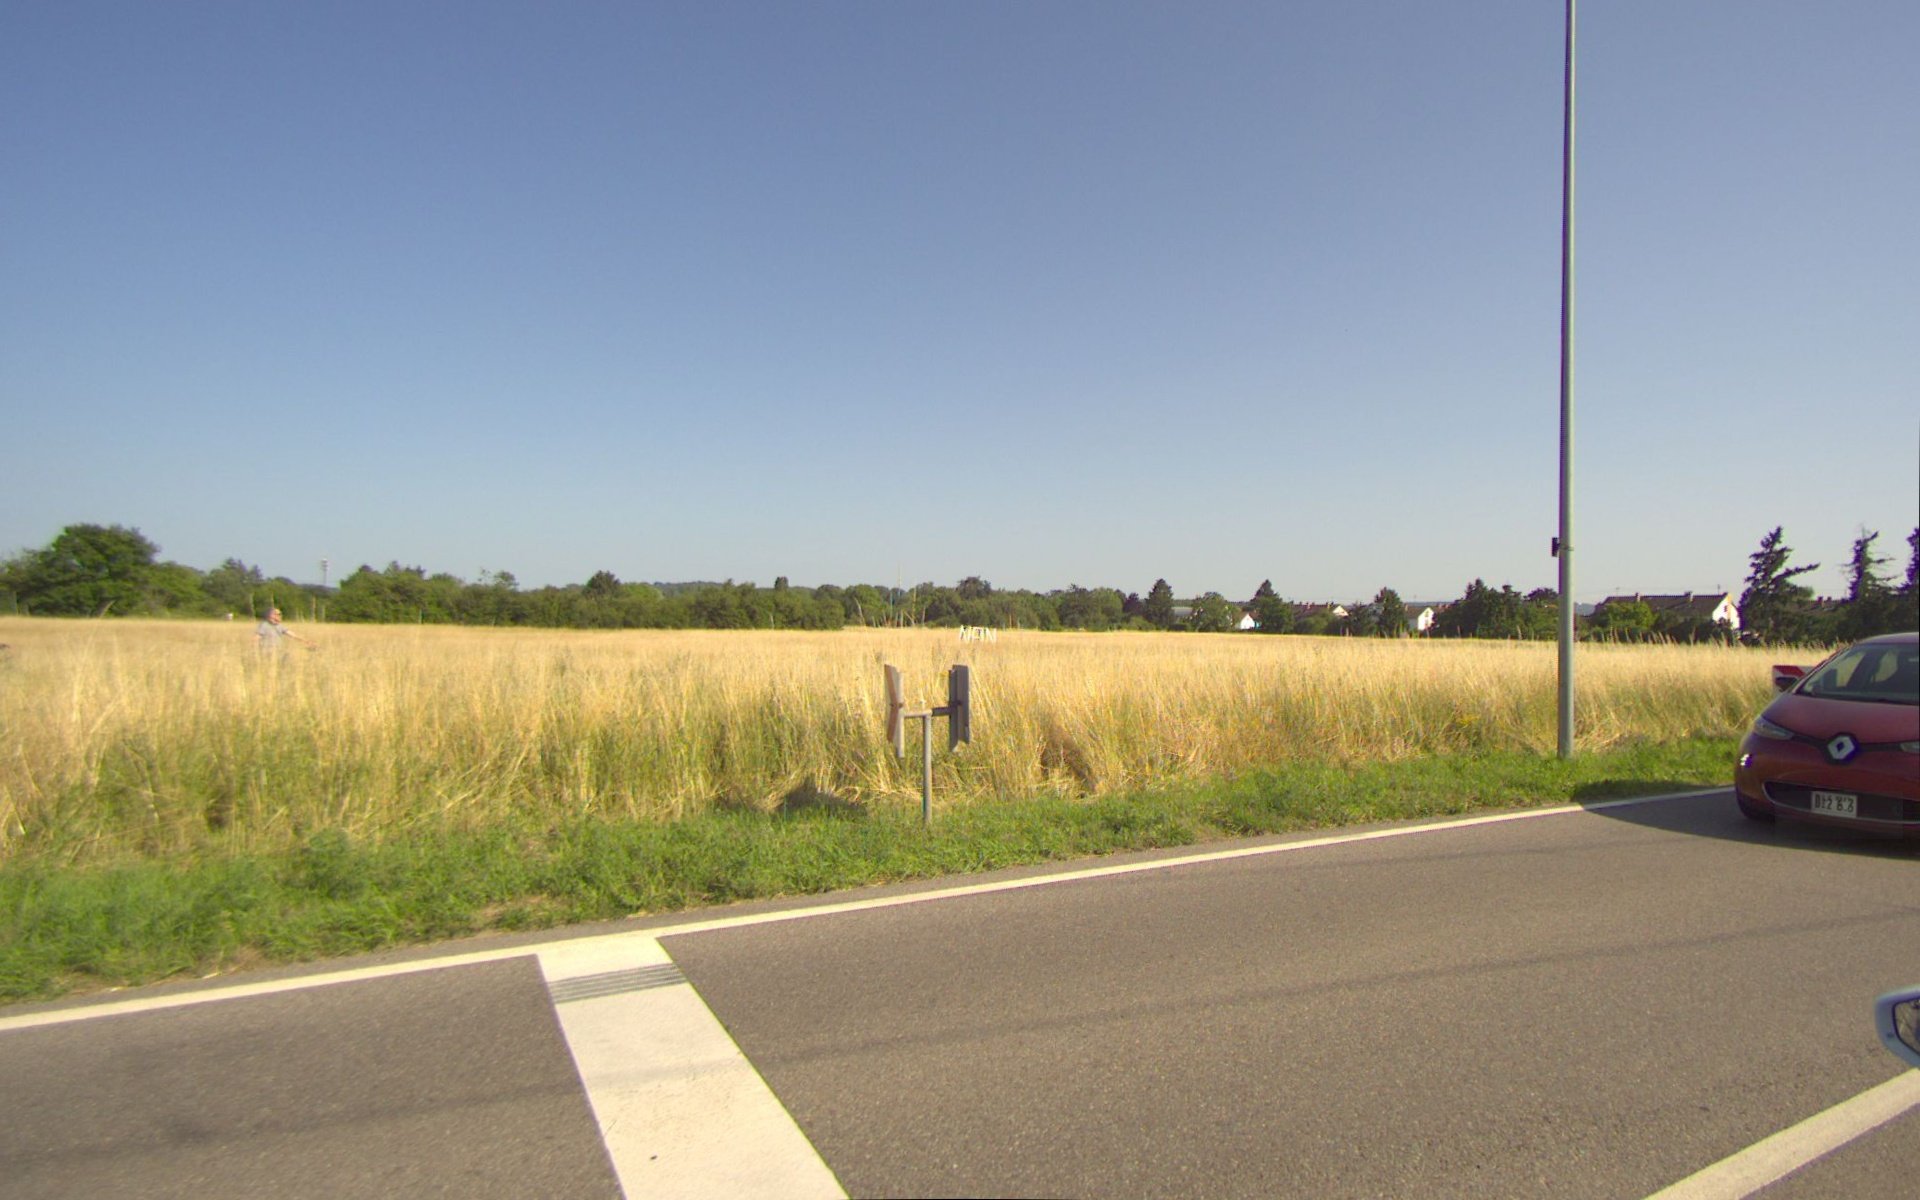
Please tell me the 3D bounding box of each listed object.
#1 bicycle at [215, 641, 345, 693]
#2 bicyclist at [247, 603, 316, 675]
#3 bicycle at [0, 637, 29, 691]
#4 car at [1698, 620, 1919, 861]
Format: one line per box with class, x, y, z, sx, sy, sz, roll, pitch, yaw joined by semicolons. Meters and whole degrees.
bicycle;-11.885;1.173;17.612;1.708;0.850;0.749;2;-1;-17
bicyclist;-11.884;0.673;17.617;0.777;1.221;0.745;2;-1;-17
bicycle;-16.659;1.044;16.633;1.708;0.850;0.612;2;0;-17
car;7.843;1.022;7.996;3.881;1.570;1.705;3;-1;-29
